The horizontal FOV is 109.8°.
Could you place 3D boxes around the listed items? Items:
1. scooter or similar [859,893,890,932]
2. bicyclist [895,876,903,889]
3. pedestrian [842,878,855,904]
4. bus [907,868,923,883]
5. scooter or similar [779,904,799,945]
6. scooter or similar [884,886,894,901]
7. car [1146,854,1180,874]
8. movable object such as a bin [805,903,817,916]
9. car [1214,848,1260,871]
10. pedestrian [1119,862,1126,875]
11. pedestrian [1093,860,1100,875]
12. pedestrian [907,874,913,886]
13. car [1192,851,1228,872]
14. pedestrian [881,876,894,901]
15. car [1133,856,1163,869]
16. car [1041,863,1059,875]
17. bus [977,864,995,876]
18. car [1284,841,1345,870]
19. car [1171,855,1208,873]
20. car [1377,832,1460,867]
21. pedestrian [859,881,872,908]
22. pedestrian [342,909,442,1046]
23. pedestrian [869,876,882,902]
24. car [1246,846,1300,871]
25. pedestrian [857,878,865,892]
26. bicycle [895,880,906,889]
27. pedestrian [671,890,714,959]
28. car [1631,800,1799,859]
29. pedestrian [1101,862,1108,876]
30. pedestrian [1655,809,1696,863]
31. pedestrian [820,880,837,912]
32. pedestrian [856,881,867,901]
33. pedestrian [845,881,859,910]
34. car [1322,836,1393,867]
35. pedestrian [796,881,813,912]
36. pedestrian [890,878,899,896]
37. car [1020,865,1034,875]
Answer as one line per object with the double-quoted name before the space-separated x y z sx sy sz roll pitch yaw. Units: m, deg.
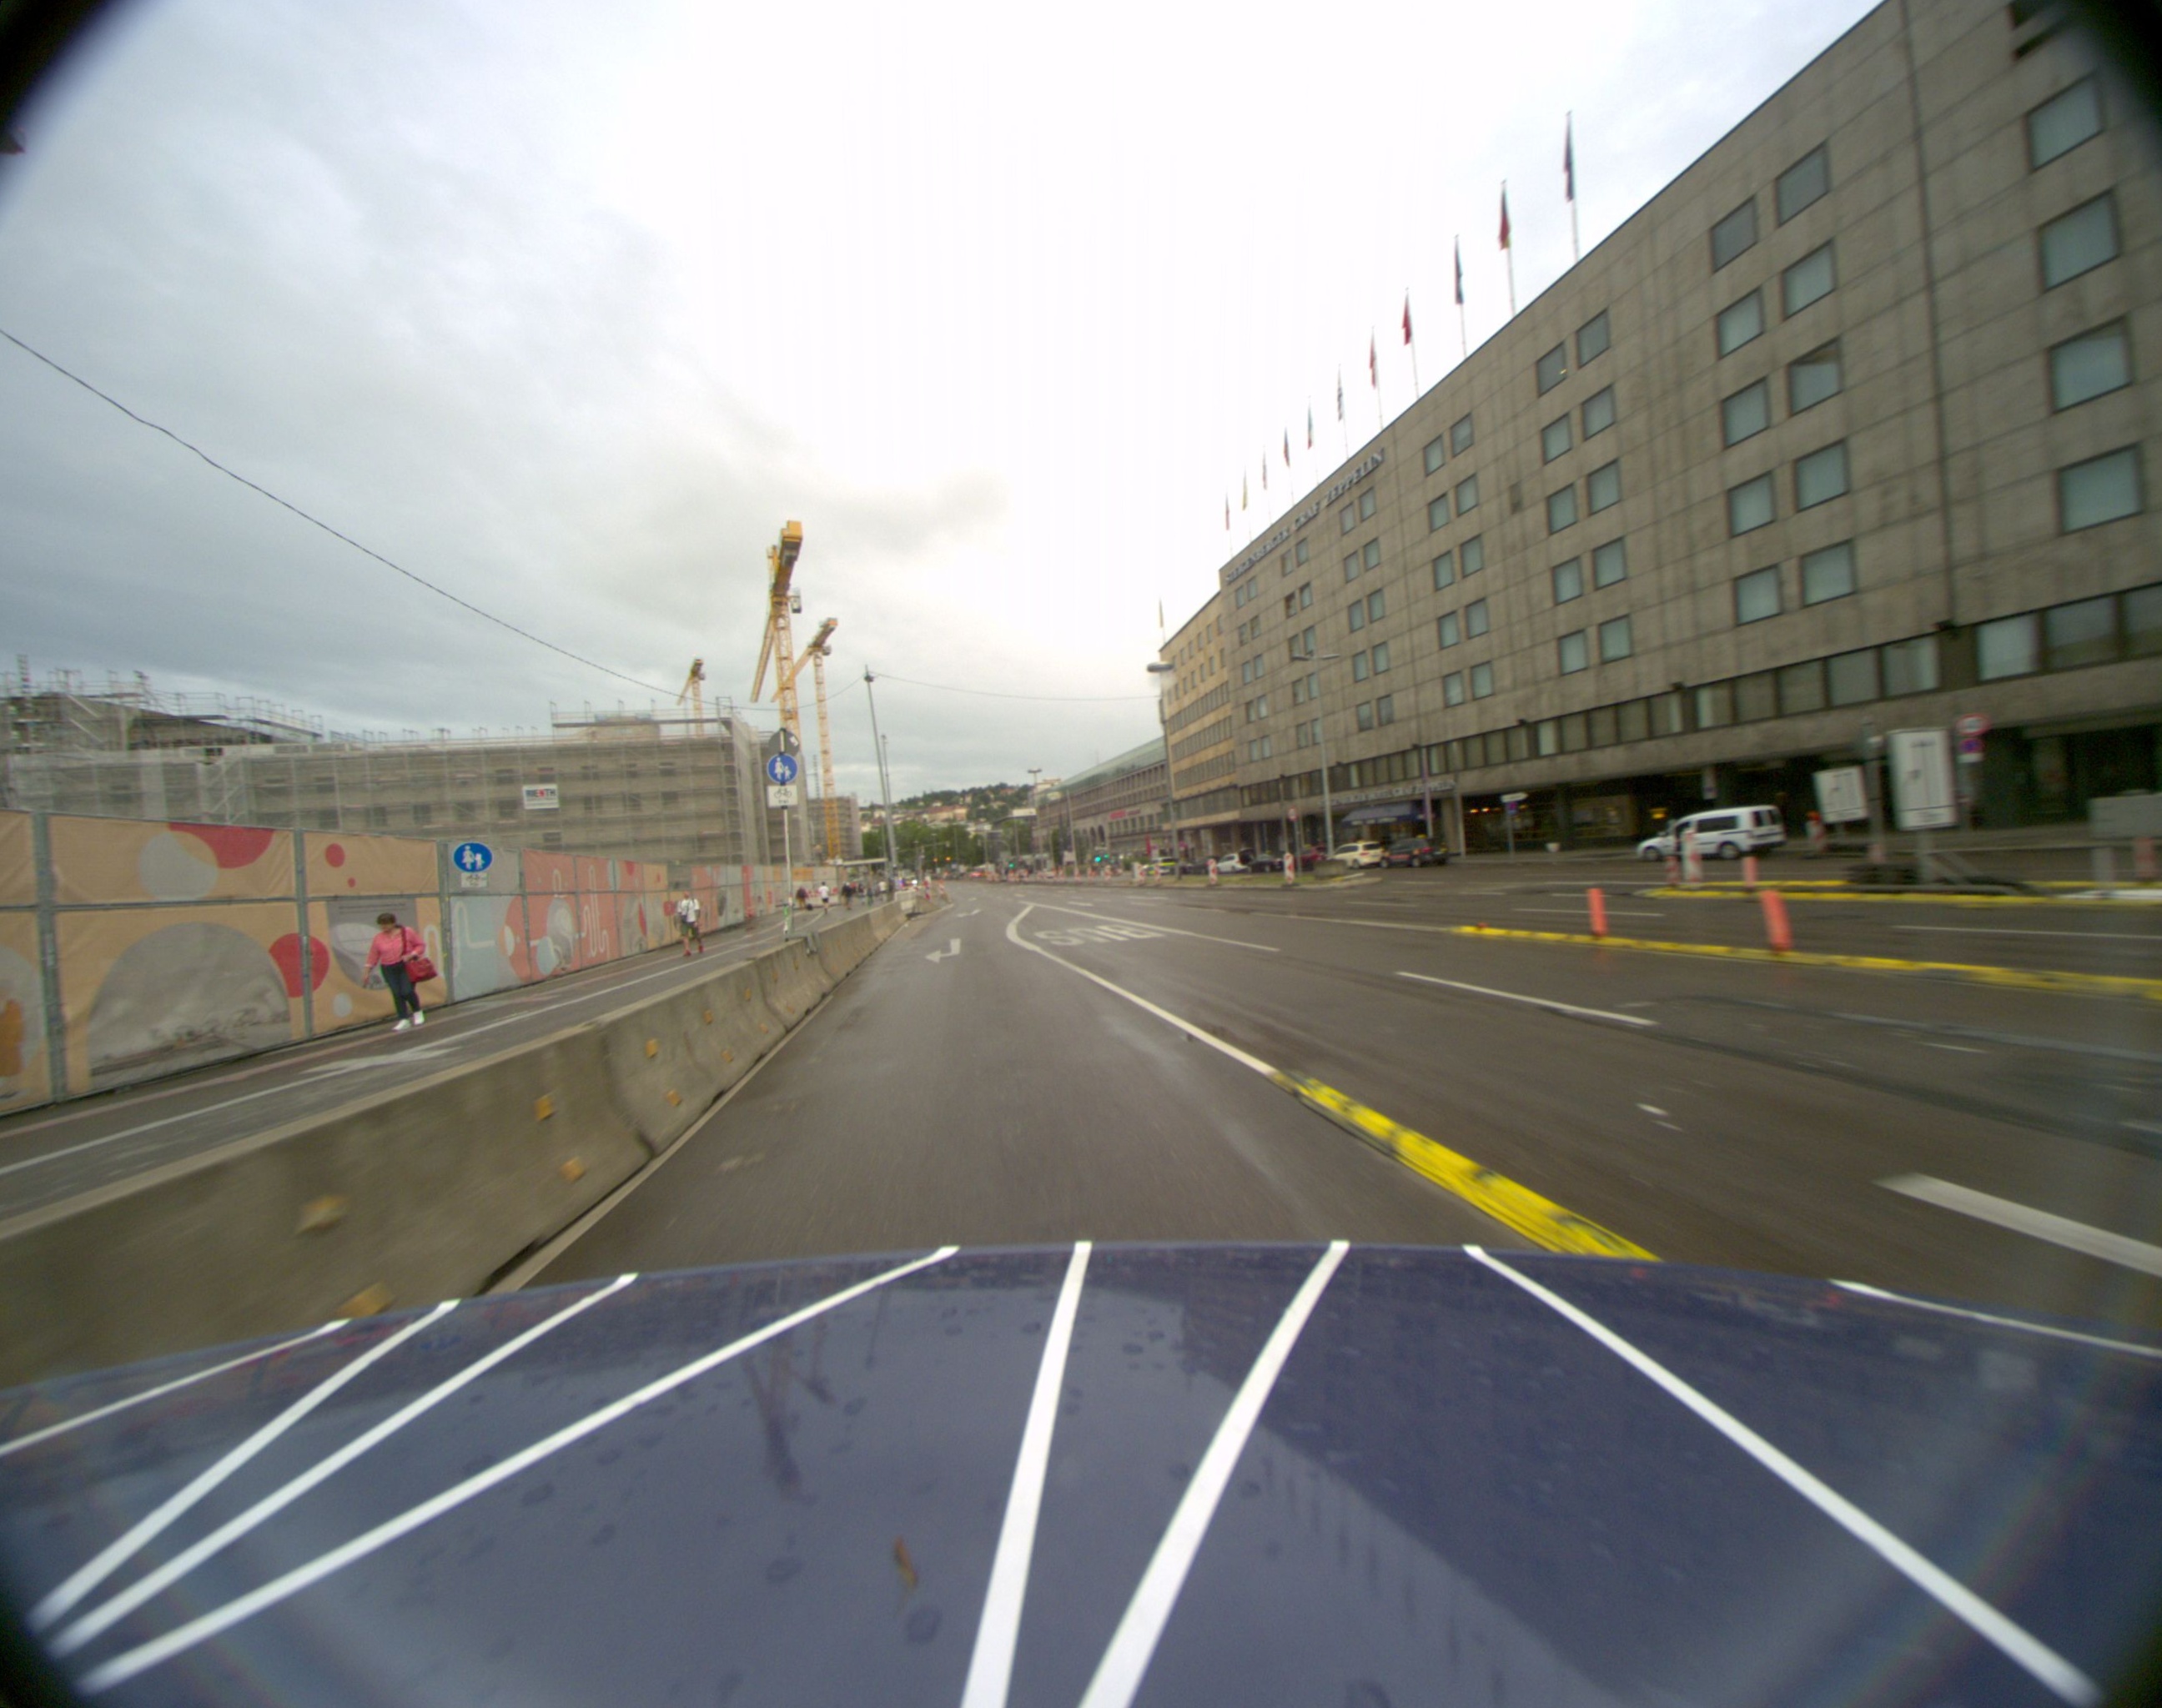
"scooter or similar" -7.070 1.980 26.032 0.676 1.207 1.571 -5 0 -6
"bicyclist" -23.568 3.688 98.337 0.696 1.694 0.434 -5 0 4
"pedestrian" -17.115 2.732 55.962 0.686 1.878 0.693 -5 0 -13
"bus" -40.262 5.213 184.028 3.003 3.119 7.756 -5 0 -17
"scooter or similar" -9.113 2.192 23.738 0.469 1.176 1.413 -5 0 -20
"scooter or similar" -16.256 3.300 64.311 0.667 1.191 1.043 -5 0 -9
"car" 8.863 1.148 82.629 1.907 1.917 5.070 -4 -1 -15
"movable object such as a bin" -17.635 3.614 49.630 0.599 0.730 0.777 -5 3 -11
"car" 13.177 0.521 64.307 1.761 1.747 4.706 -5 0 -15
"pedestrian" 5.459 1.877 100.549 0.565 1.658 0.752 -5 0 -16
"pedestrian" 2.192 1.933 107.631 0.706 2.002 0.806 -5 0 -14
"pedestrian" -31.224 4.722 138.759 0.735 2.002 0.645 -5 0 -20
"car" 11.806 0.725 69.749 1.760 1.671 4.225 -5 -1 -12
"pedestrian" -16.124 2.853 63.254 0.805 2.004 0.971 -5 0 -9
"car" 10.213 1.230 115.539 4.094 1.630 1.805 -5 0 -10
"car" -4.937 2.366 121.378 1.830 1.659 4.495 -5 0 -15
"bus" -26.174 4.445 208.788 2.913 2.923 9.811 -5 0 -17
"car" 16.223 0.139 53.148 1.908 1.757 4.642 -5 0 -13
"car" 10.704 1.042 75.259 1.761 1.612 4.560 -5 0 -15
"car" 18.805 -0.219 42.611 1.822 1.717 4.510 -5 0 -13
"pedestrian" -15.789 2.983 55.803 0.686 1.878 0.693 -5 0 -9
"pedestrian" -10.193 1.795 11.266 0.722 1.855 0.709 -5 0 -12
"pedestrian" -15.109 2.569 55.920 0.686 1.878 0.693 -5 0 -9
"car" 14.743 0.368 58.532 1.909 1.649 4.612 -5 -1 -14
"pedestrian" -30.800 4.351 106.373 0.577 2.002 0.629 -5 0 43
"bicycle" -23.503 3.983 98.979 0.755 1.127 1.993 -2 0 5
"pedestrian" -11.266 2.021 22.067 0.706 1.855 0.989 -5 0 -10
"car" 22.830 -0.807 27.614 1.780 1.752 4.367 -5 0 -15
"pedestrian" 3.272 2.092 105.976 0.591 1.913 0.751 -5 0 -15
"pedestrian" 21.502 -0.649 27.499 0.693 1.875 0.795 -5 0 -15
"pedestrian" -14.340 2.370 43.097 0.686 1.730 0.907 -5 0 -12
"pedestrian" -21.649 3.600 75.002 0.851 1.884 0.661 -5 0 -10
"pedestrian" -14.034 2.546 46.565 0.645 1.730 0.837 -5 0 -12
"car" 17.387 -0.104 47.991 1.822 1.688 4.573 -5 0 -15
"pedestrian" -17.830 2.728 49.055 0.769 1.884 0.653 -5 0 -10
"pedestrian" -22.664 4.013 92.513 0.789 2.000 0.865 -5 0 -5
"car" -9.978 2.978 140.284 1.780 1.659 4.496 -4 -1 -13
